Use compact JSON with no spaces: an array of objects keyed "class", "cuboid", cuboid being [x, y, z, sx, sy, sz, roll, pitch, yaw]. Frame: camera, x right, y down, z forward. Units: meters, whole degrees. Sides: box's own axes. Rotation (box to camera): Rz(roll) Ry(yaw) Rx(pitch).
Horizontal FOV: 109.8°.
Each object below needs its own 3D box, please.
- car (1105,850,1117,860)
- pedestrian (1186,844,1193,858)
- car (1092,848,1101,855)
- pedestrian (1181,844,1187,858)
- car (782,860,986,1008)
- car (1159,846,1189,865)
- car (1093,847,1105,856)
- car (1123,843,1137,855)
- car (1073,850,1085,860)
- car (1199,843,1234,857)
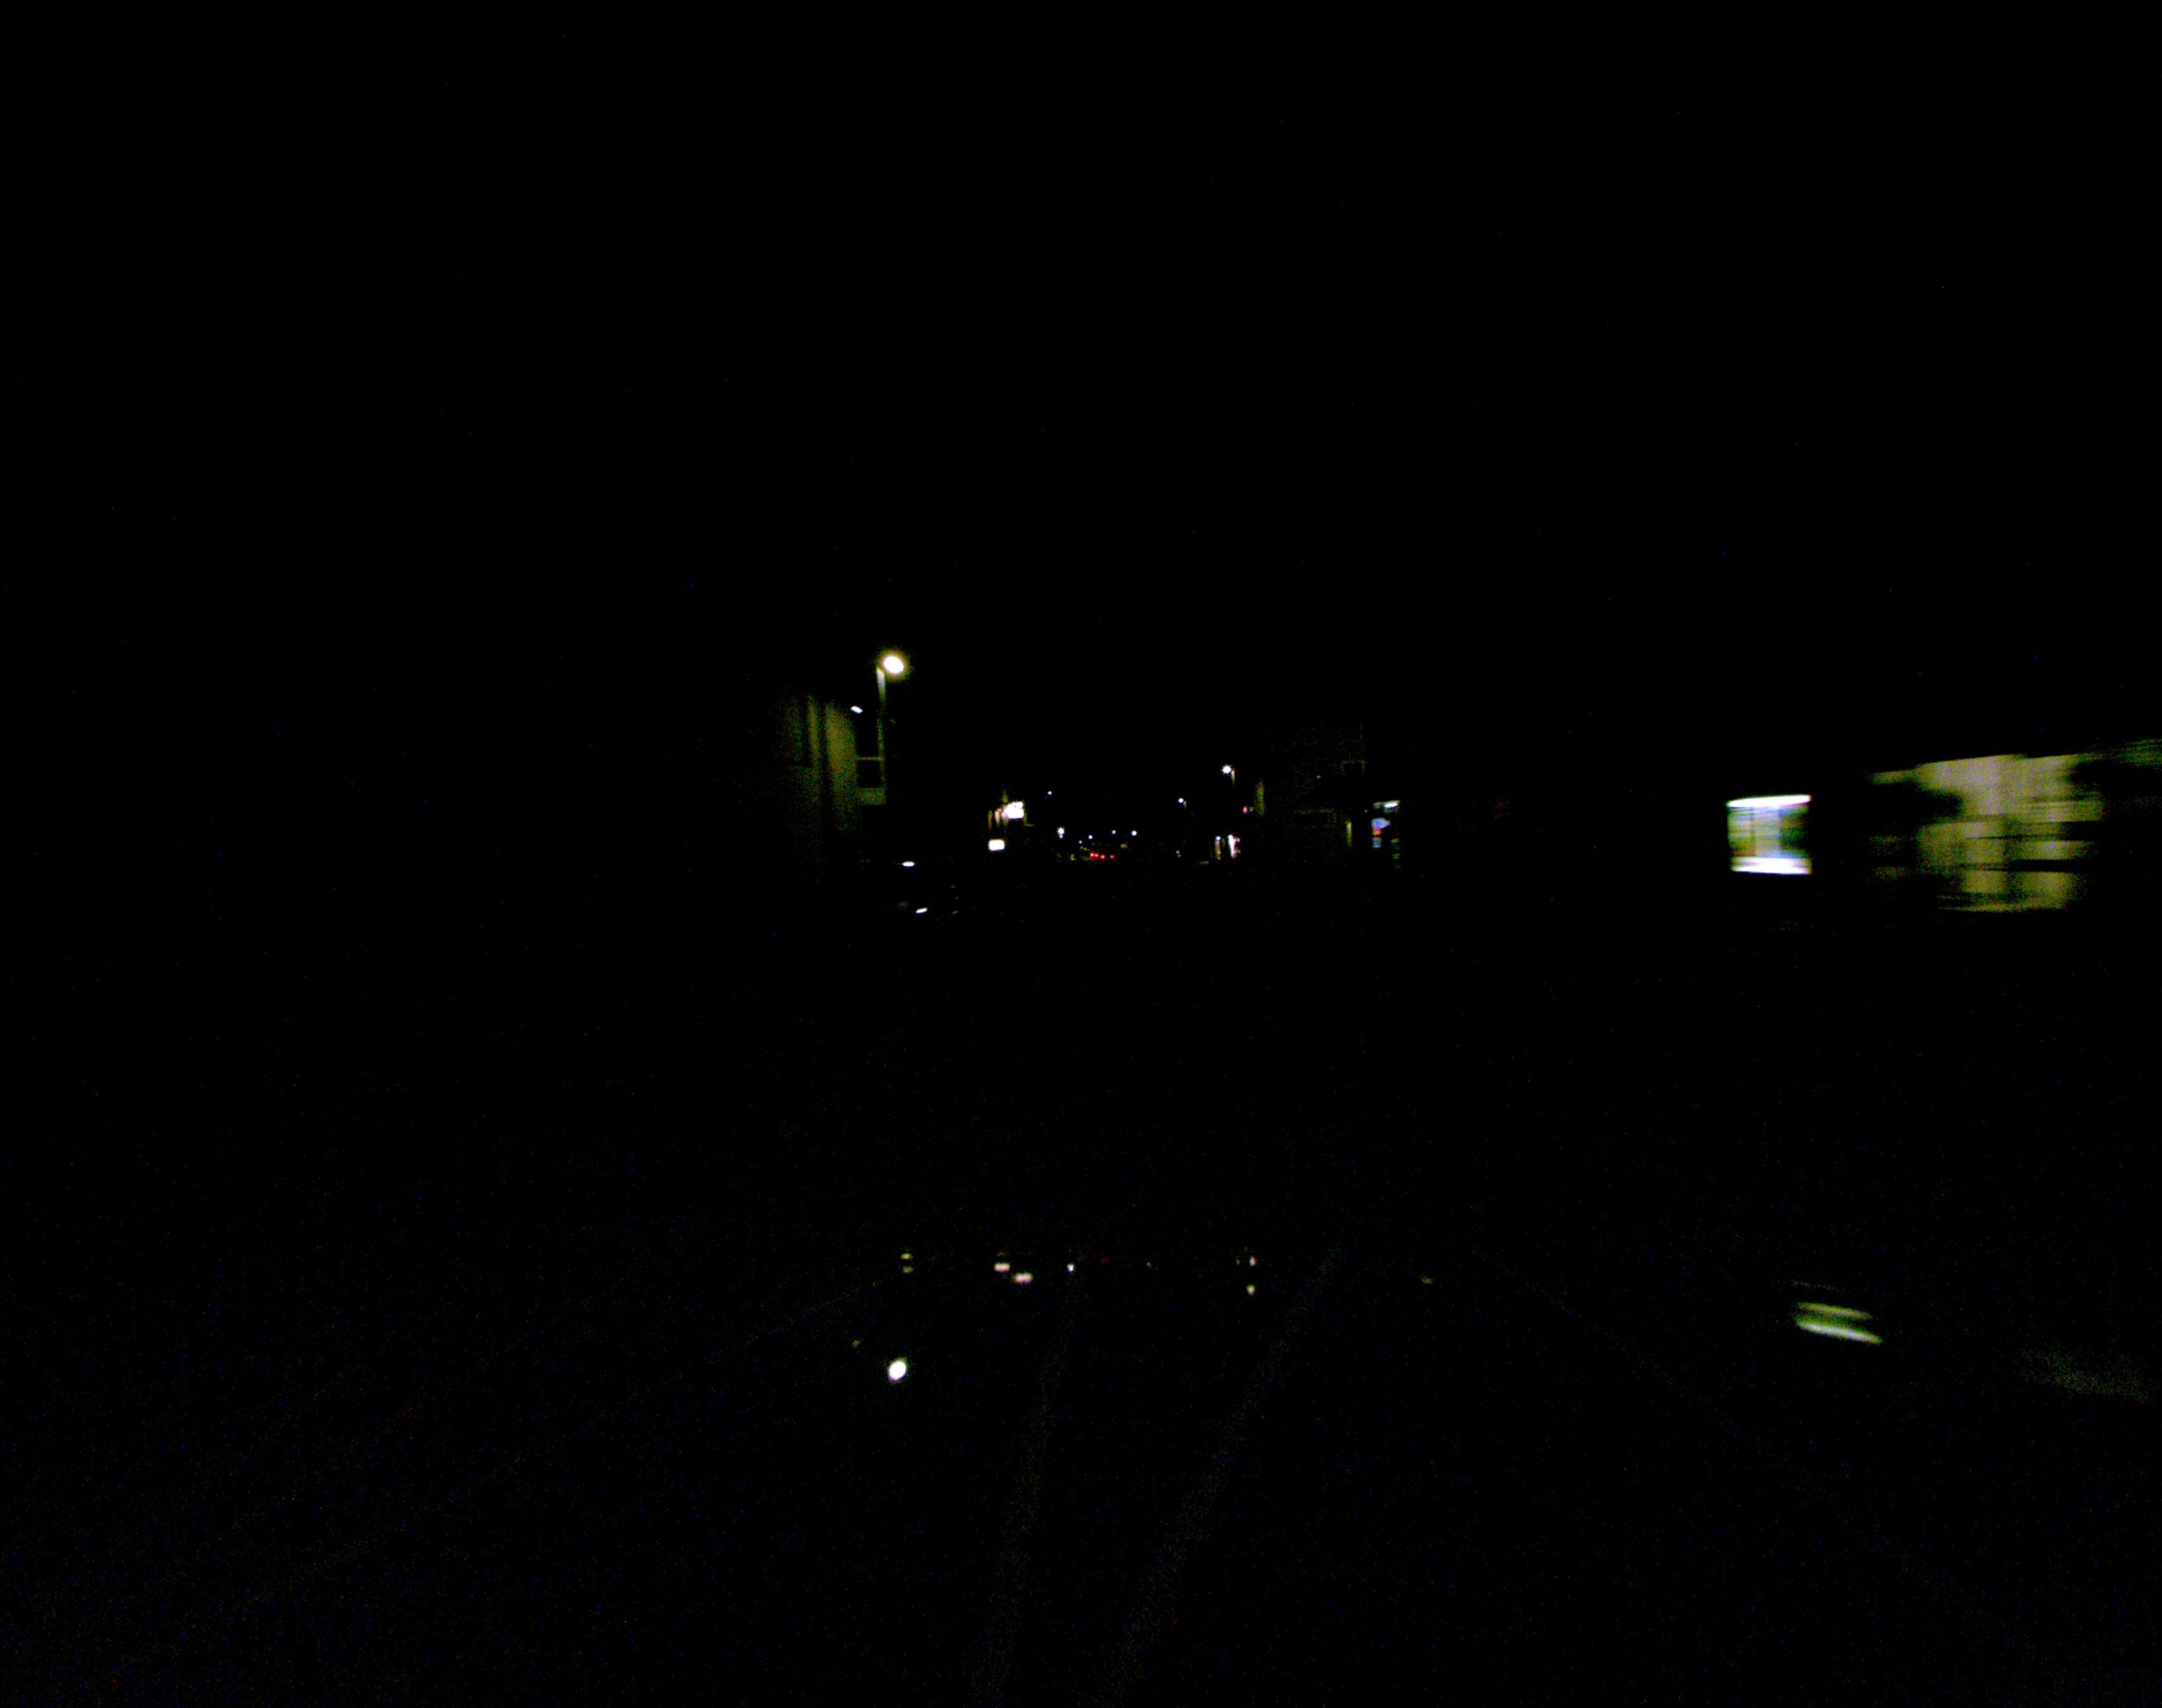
[{"class":"car","cuboid":[4.645,0.095,118.082,1.721,1.420,3.815,-3,0,2]},{"class":"pedestrian","cuboid":[12.104,-0.304,84.776,0.529,1.579,0.665,-3,1,-7]},{"class":"car","cuboid":[3.146,-0.517,155.815,1.822,1.271,3.916,-3,0,0]},{"class":"pedestrian","cuboid":[11.492,-0.334,84.826,0.529,1.579,0.665,-3,1,-6]},{"class":"car","cuboid":[-2.519,0.936,10.808,1.747,1.560,4.208,-2,0,0]},{"class":"car","cuboid":[7.803,0.072,63.895,1.901,1.411,4.930,-4,0,1]},{"class":"car","cuboid":[3.240,-0.429,137.715,1.752,1.635,4.306,-2,0,-2]},{"class":"car","cuboid":[7.535,-0.742,117.924,1.814,1.637,3.803,-4,1,0]},{"class":"car","cuboid":[-0.315,0.146,111.707,1.606,1.474,3.698,-2,1,-2]},{"class":"car","cuboid":[15.721,-0.462,88.337,3.832,1.408,1.653,-2,1,2]}]
